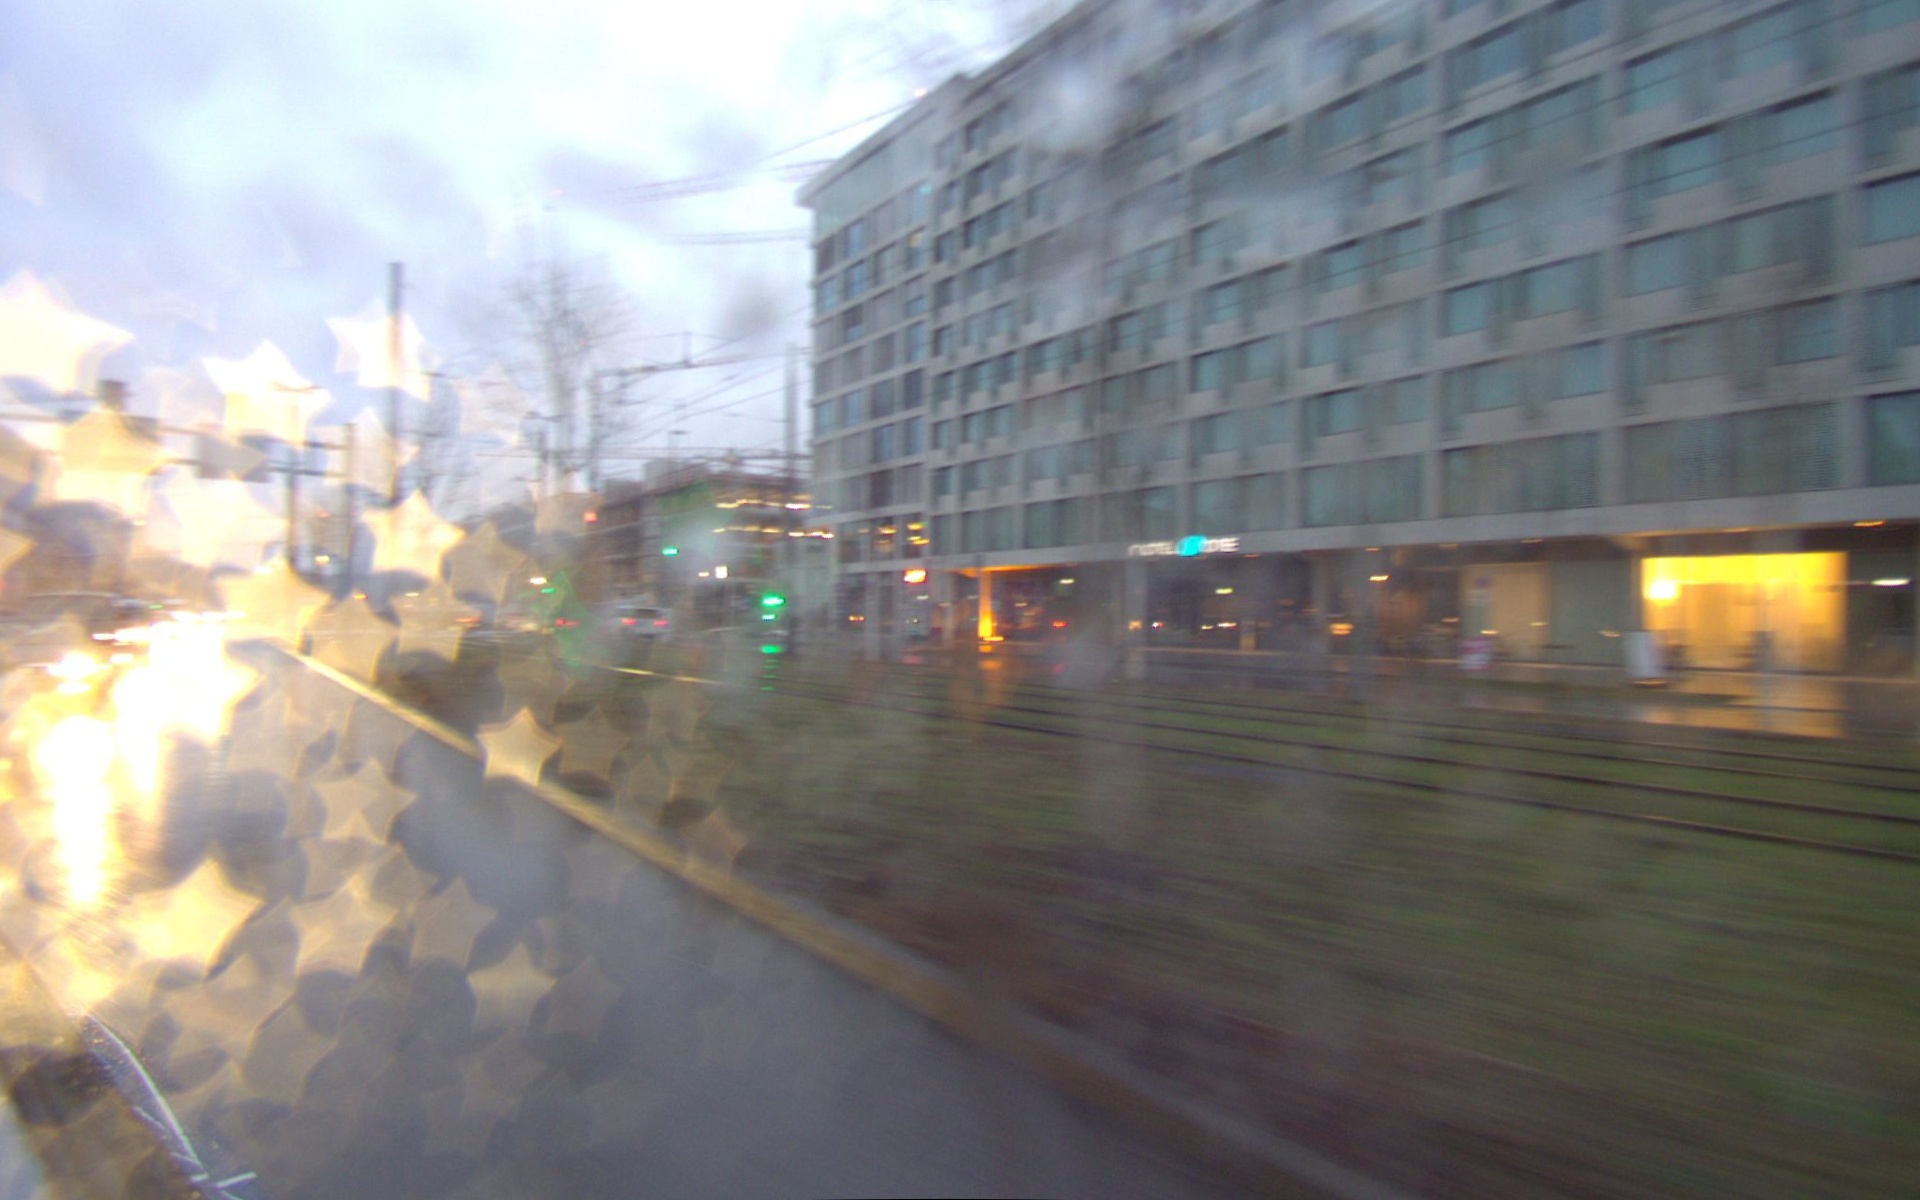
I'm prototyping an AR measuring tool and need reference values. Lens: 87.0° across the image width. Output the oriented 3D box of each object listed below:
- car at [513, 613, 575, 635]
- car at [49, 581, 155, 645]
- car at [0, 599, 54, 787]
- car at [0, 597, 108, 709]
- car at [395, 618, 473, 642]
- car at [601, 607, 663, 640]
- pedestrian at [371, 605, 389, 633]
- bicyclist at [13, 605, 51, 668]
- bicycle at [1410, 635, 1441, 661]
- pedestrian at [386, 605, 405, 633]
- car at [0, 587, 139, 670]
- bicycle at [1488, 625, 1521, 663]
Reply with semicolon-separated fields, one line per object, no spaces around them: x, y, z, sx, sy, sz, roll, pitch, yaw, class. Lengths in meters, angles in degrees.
-25.679;1.470;62.419;3.995;1.317;1.794;0;-1;39;car
-24.171;0.350;28.655;1.967;1.639;4.278;-1;0;-37;car
-9.401;0.779;8.777;1.856;1.573;4.180;1;-1;-36;car
-15.546;0.800;16.745;2.041;1.639;4.277;-1;1;-38;car
-32.723;1.861;63.073;4.184;1.411;2.119;1;-1;-25;car
-17.609;1.260;54.106;2.052;1.682;5.058;1;-1;-31;car
-37.683;1.213;65.749;0.763;1.818;0.707;-1;0;16;pedestrian
-34.136;1.321;37.243;0.953;2.239;0.937;-1;1;-39;bicyclist
16.978;1.740;36.909;1.328;0.860;0.466;-1;1;-38;bicycle
-36.739;1.215;65.889;0.761;1.818;0.708;-1;0;10;pedestrian
-19.797;0.563;22.589;2.041;1.639;4.278;-1;1;-36;car
18.899;1.520;35.116;1.516;1.247;0.466;-1;1;-39;bicycle
